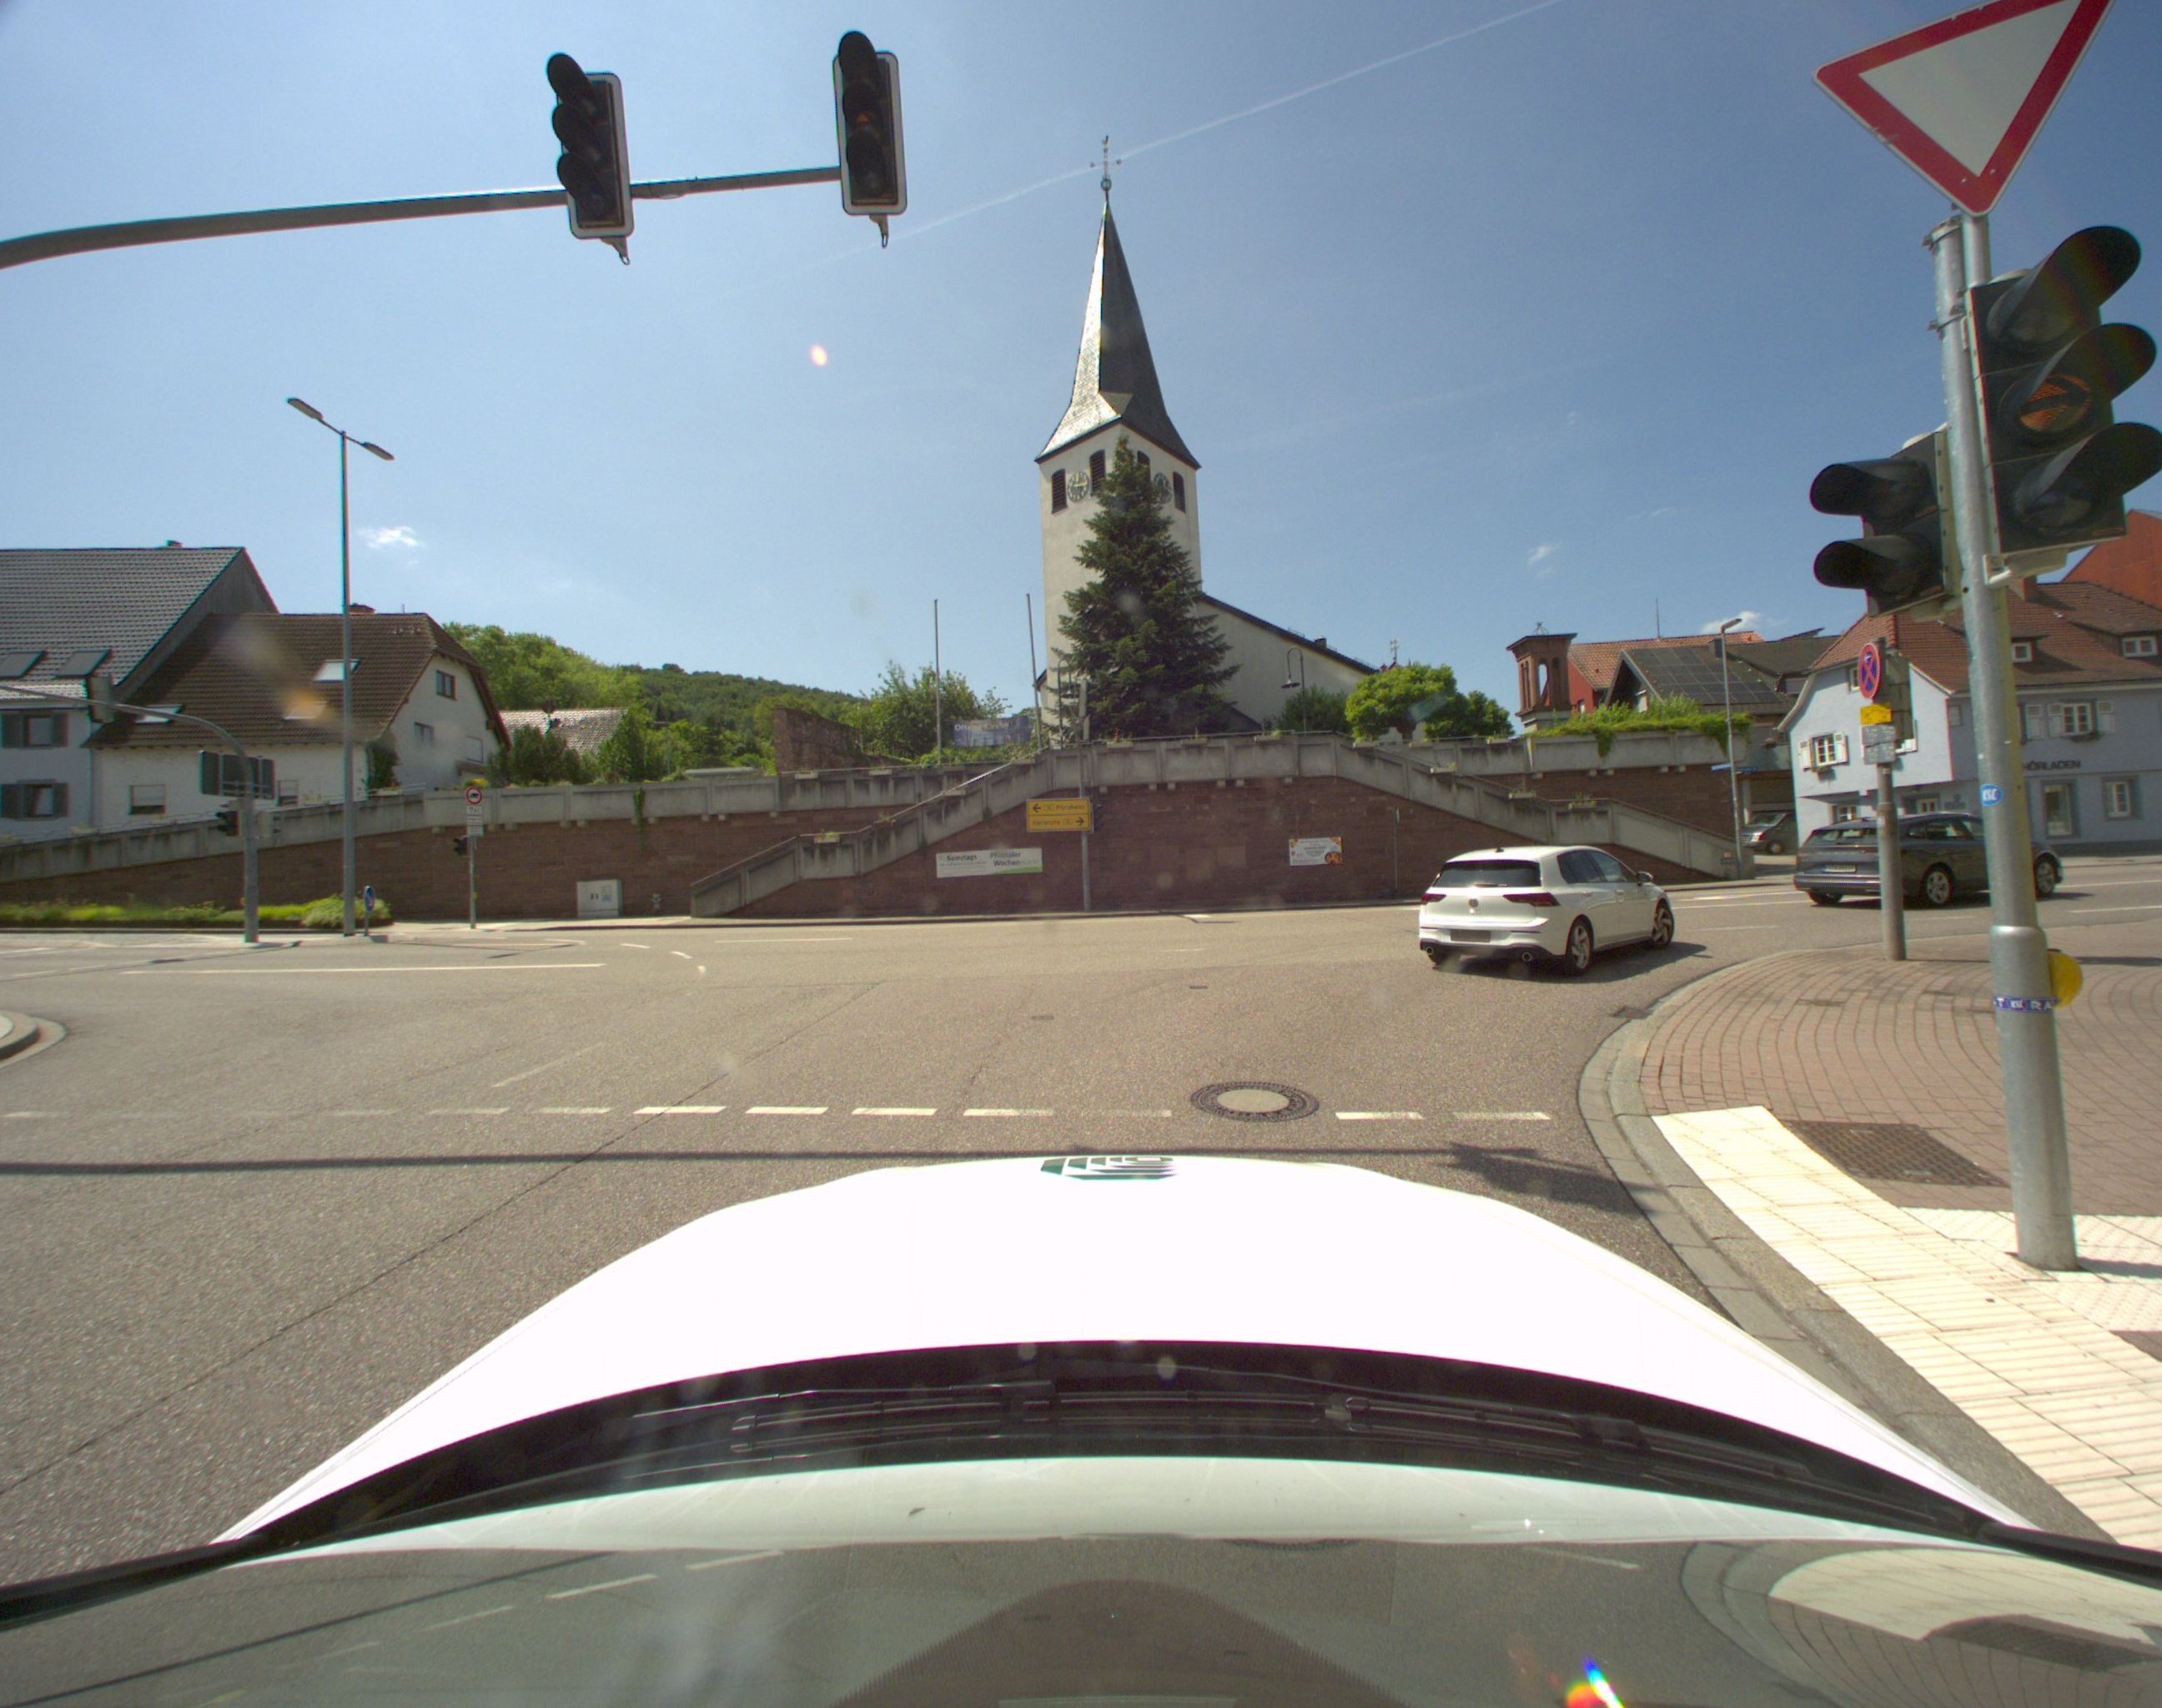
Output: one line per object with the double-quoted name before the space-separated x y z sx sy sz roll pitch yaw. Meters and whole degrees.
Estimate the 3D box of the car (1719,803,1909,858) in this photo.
"car" 33.220 -1.024 37.141 5.938 2.014 2.532 -3 -3 10

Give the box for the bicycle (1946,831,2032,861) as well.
"bicycle" 30.301 -0.263 27.200 1.799 0.899 0.653 -2 0 37

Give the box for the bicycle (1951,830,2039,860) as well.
"bicycle" 29.890 -0.278 26.671 1.799 0.899 0.627 -2 0 37

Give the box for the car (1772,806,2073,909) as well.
"car" 15.415 0.040 14.983 4.318 1.582 1.946 -3 0 -15

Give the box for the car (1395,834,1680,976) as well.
"car" 5.922 0.538 10.402 3.882 1.458 1.768 -2 -2 -38
